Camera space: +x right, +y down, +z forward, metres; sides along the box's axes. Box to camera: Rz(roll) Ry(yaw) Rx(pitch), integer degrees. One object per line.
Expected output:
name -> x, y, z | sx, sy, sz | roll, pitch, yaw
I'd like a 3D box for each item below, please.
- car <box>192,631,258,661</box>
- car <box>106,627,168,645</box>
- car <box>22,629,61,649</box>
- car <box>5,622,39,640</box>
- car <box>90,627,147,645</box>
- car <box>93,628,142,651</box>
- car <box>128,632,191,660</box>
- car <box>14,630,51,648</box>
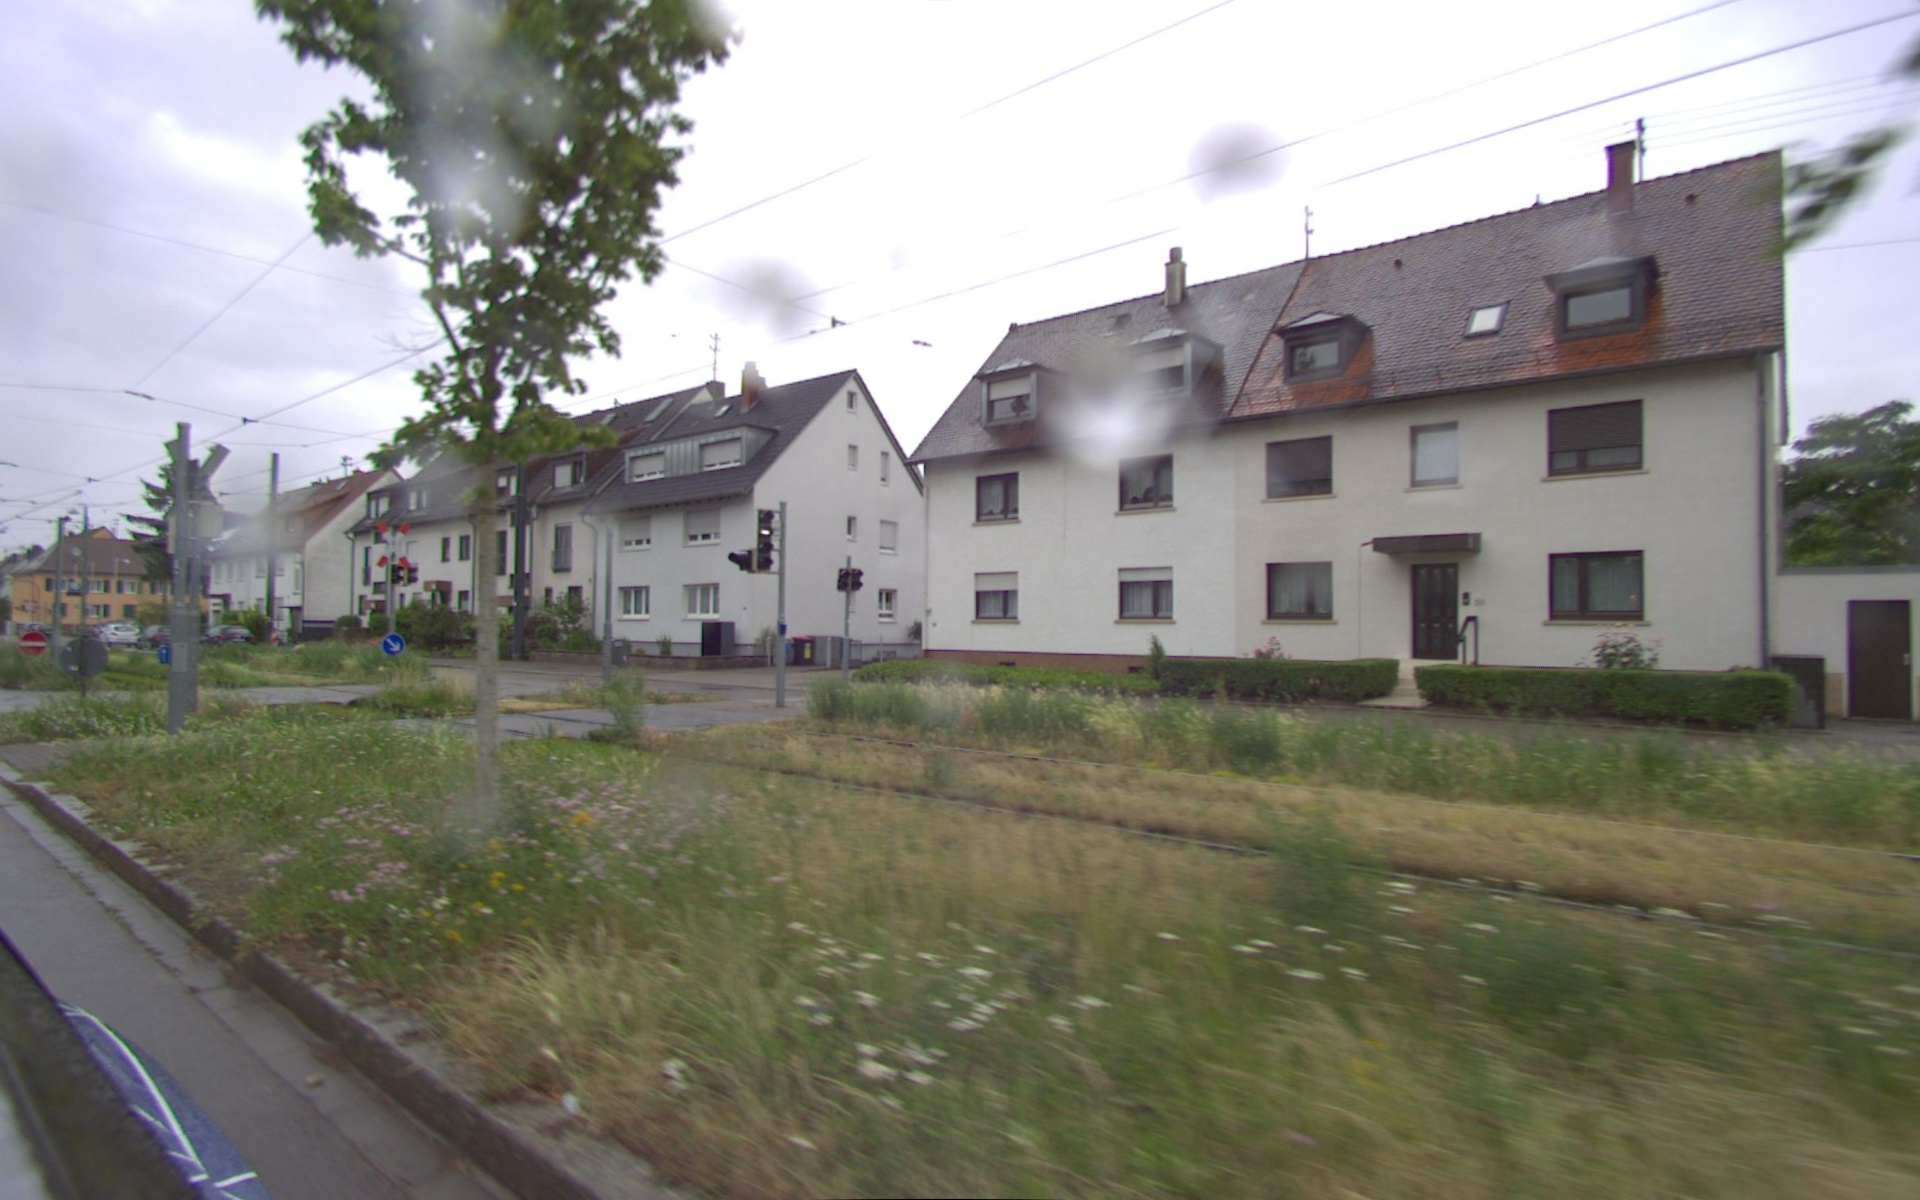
car -> -37.504, 2.349, 51.611 | 3.934, 1.437, 1.755 | -1, -4, 40
car -> -72.560, 3.180, 89.243 | 1.913, 1.607, 3.945 | -1, -3, 41
car -> -76.970, 3.280, 84.800 | 3.997, 1.602, 1.888 | -1, -3, 40
car -> -87.068, 2.862, 93.908 | 3.999, 1.670, 1.972 | -1, -2, 42
car -> -77.796, 3.289, 93.658 | 3.935, 1.607, 1.917 | 1, -2, -37
car -> -55.774, 2.627, 66.995 | 3.995, 1.451, 1.694 | -1, -4, 39
car -> -47.282, 2.710, 59.725 | 4.751, 1.543, 1.868 | -1, -4, 39
car -> -80.524, 3.361, 87.841 | 3.997, 1.541, 1.858 | -1, -3, 40
